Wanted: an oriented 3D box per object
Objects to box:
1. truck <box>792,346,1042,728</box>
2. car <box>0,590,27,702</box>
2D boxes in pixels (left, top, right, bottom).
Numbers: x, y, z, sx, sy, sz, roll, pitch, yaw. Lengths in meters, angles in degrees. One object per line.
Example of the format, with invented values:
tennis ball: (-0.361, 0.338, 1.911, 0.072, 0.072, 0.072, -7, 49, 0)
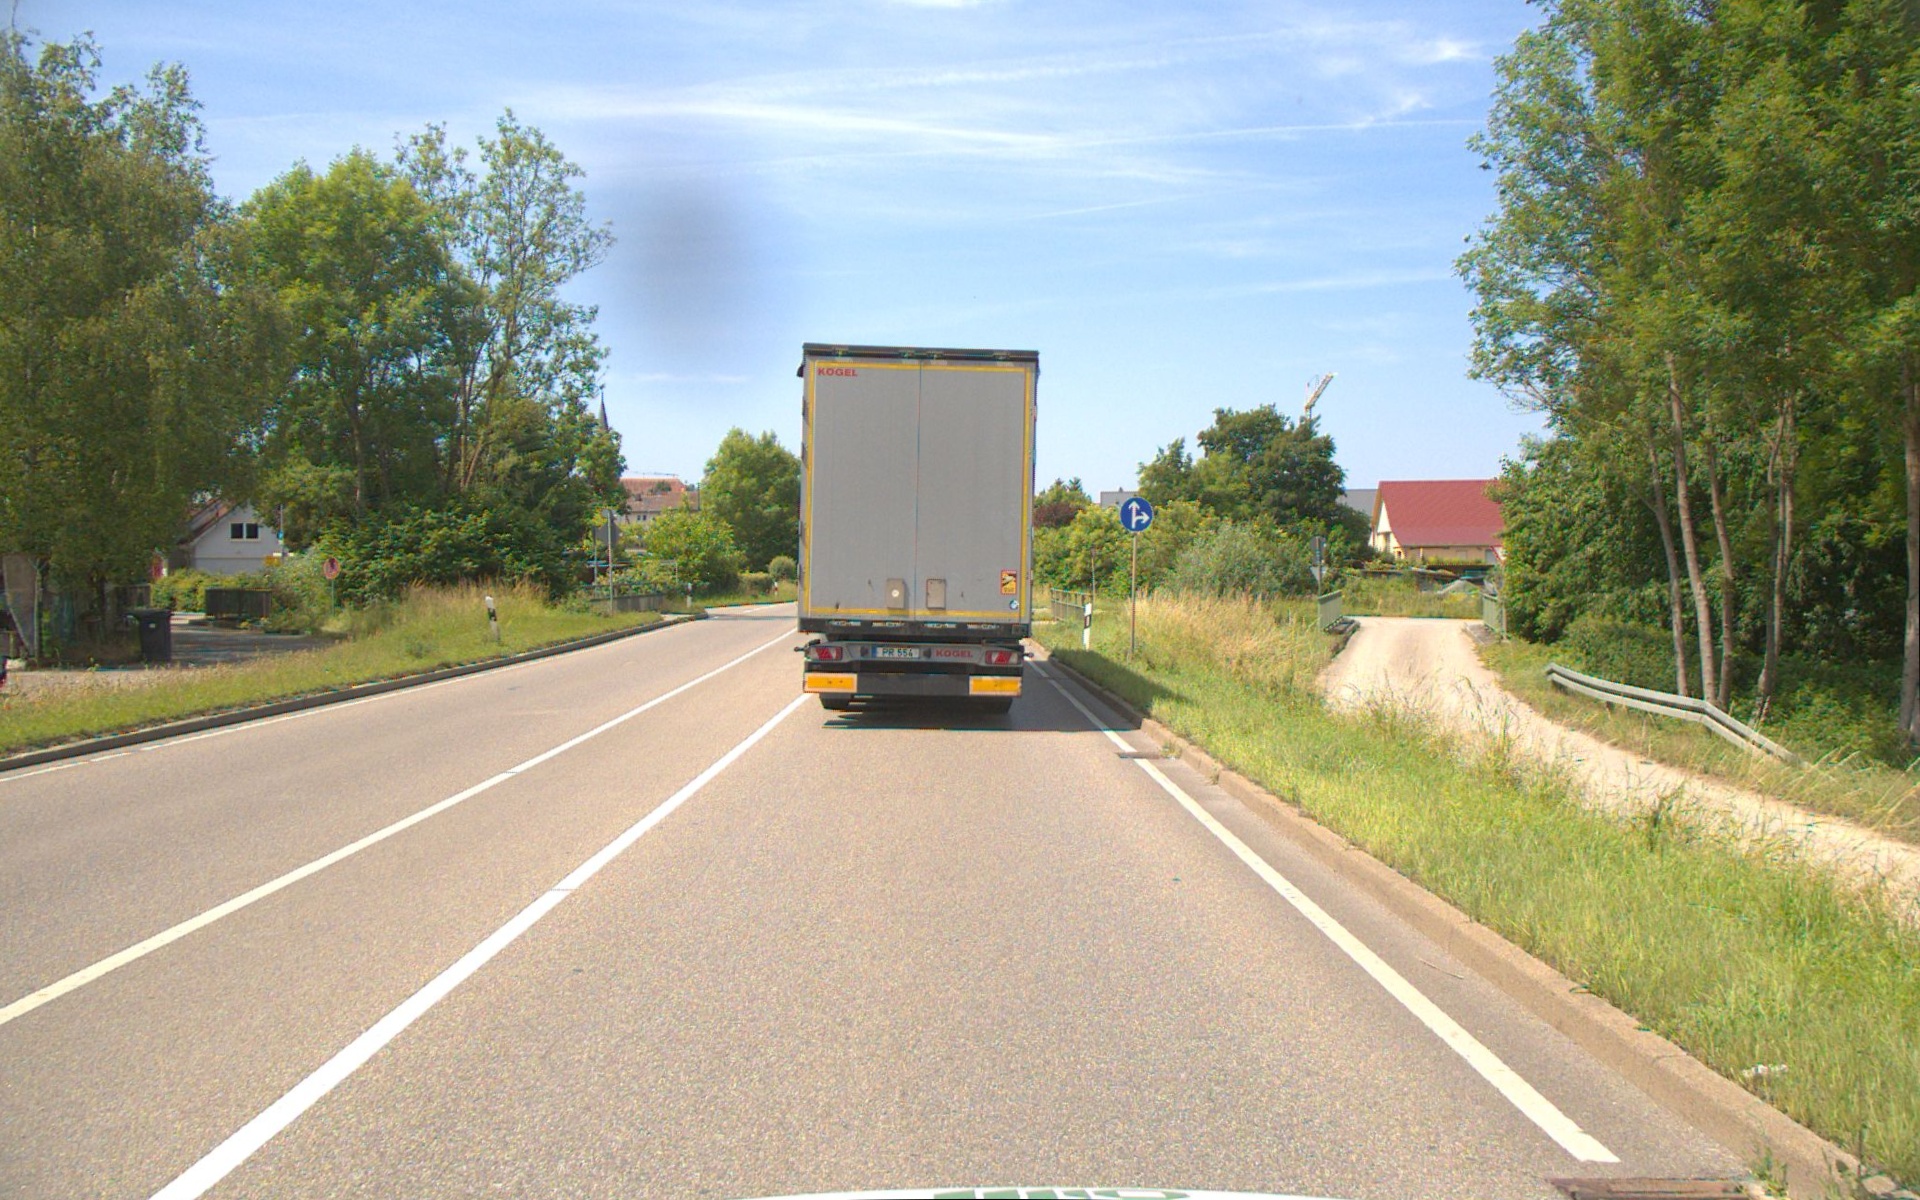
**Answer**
truck: (-0.589, -0.675, 21.789, 2.594, 3.985, 8.822, 0, 0, -2)
car: (-17.573, 0.718, 26.108, 4.572, 1.750, 1.860, 1, 2, -5)
